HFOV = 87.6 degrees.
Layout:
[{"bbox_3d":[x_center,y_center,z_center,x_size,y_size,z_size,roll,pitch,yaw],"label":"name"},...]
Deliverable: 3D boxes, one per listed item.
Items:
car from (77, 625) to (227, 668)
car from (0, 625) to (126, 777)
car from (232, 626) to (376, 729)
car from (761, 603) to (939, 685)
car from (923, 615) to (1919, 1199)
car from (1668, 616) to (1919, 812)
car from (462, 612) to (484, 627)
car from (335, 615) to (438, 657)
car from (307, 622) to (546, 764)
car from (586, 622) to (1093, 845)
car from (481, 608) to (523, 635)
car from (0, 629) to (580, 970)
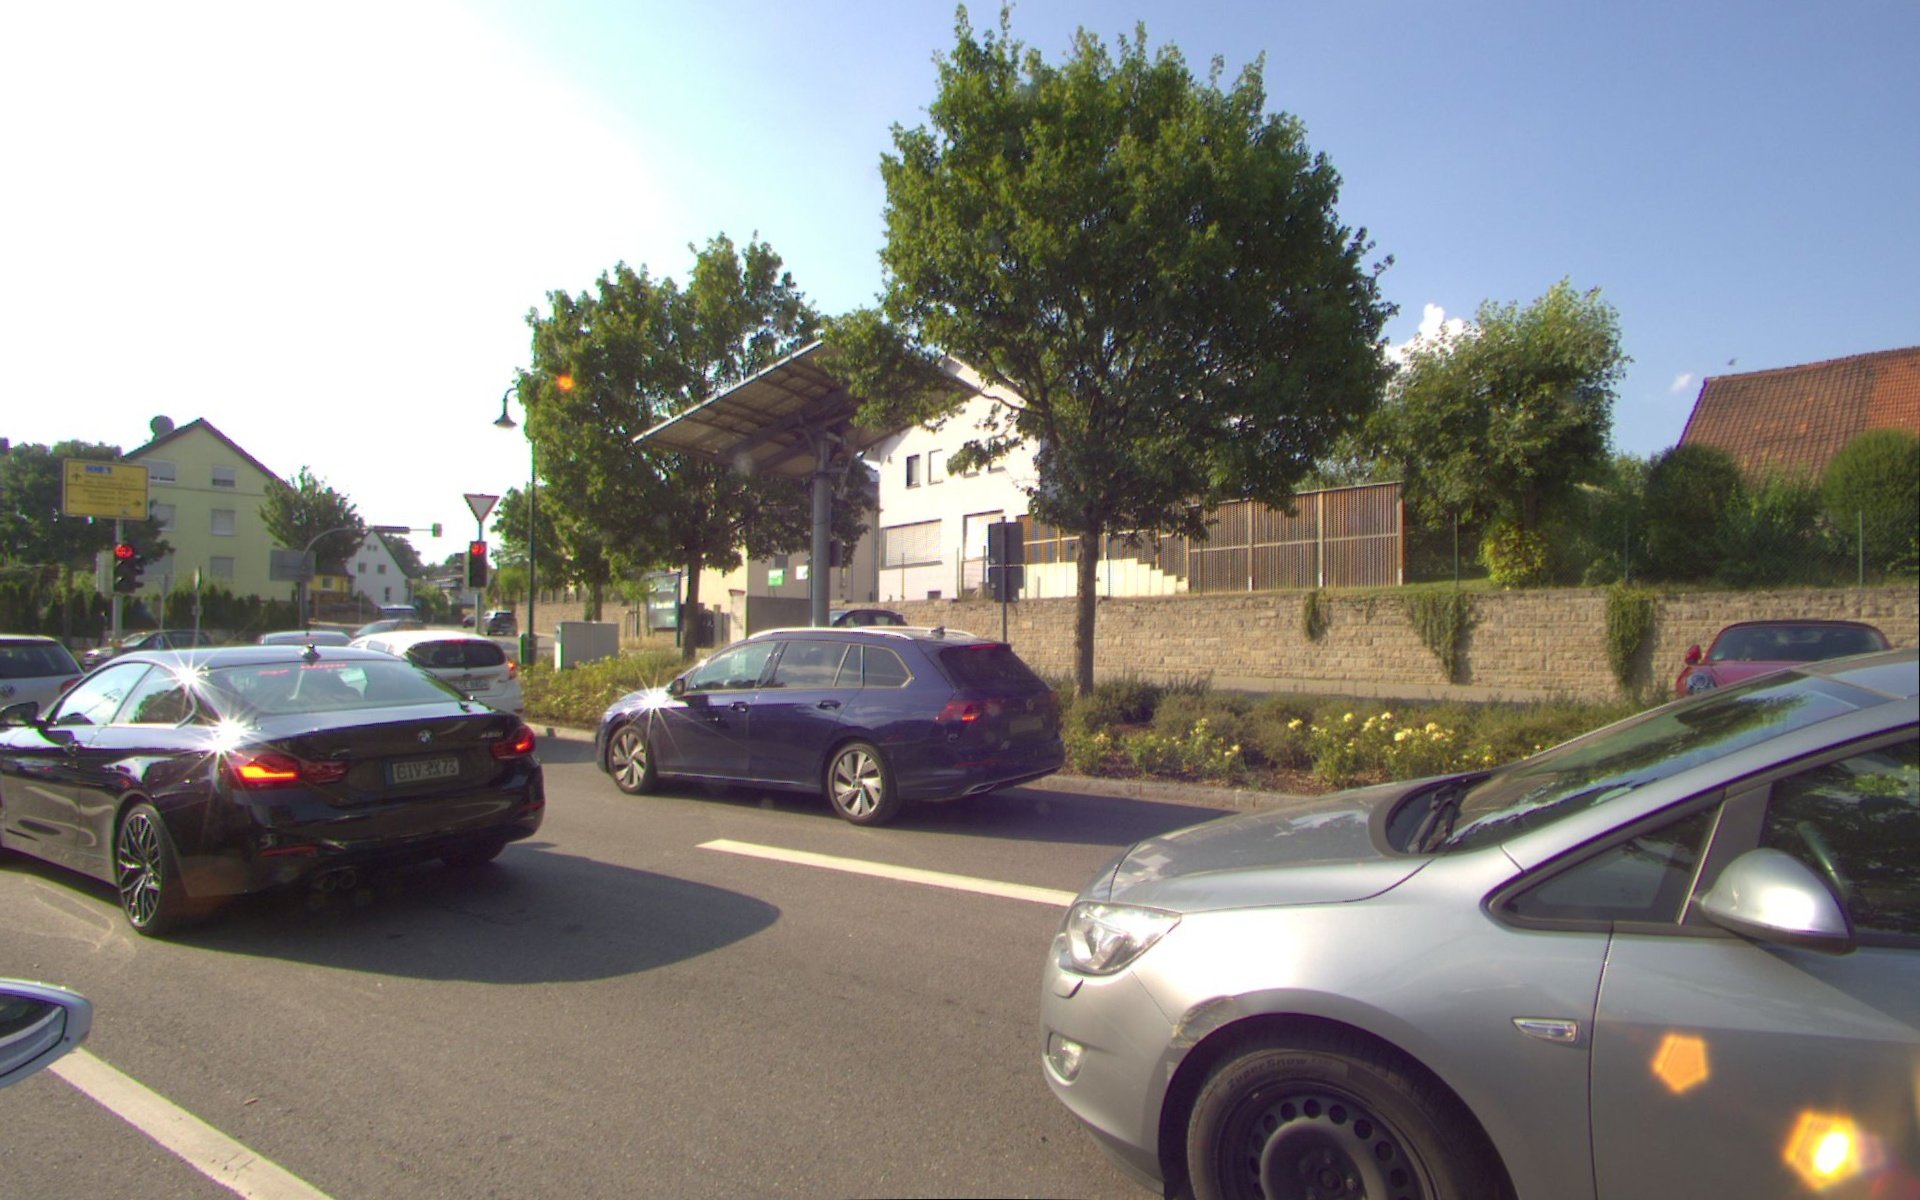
[{"bbox_3d":[-30.068,1.712,37.368,1.821,1.508,3.983,-1,-2,30],"label":"car"},{"bbox_3d":[-10.803,1.008,10.781,3.848,1.444,1.758,-1,0,33],"label":"car"},{"bbox_3d":[-11.750,1.267,17.816,1.643,1.562,4.362,-1,0,-40],"label":"car"},{"bbox_3d":[-2.374,0.955,22.299,1.758,1.653,3.800,-1,-2,40],"label":"car"},{"bbox_3d":[2.175,0.779,2.162,4.256,1.472,1.758,-1,0,31],"label":"car"},{"bbox_3d":[8.227,0.947,9.745,1.758,1.510,4.120,-1,-2,41],"label":"car"},{"bbox_3d":[-57.508,2.347,118.285,1.938,1.701,4.204,0,-1,-20],"label":"car"},{"bbox_3d":[-24.299,1.521,42.658,1.812,1.662,4.433,0,-2,0],"label":"car"},{"bbox_3d":[-6.915,1.076,12.889,3.278,1.562,1.611,-1,0,40],"label":"car"},{"bbox_3d":[-1.162,0.945,8.668,4.259,1.472,1.757,-1,0,34],"label":"car"},{"bbox_3d":[-30.289,1.414,66.133,1.945,1.701,4.189,0,-1,-33],"label":"car"},{"bbox_3d":[-4.433,0.911,6.188,4.220,1.416,1.758,-1,0,33],"label":"car"}]
